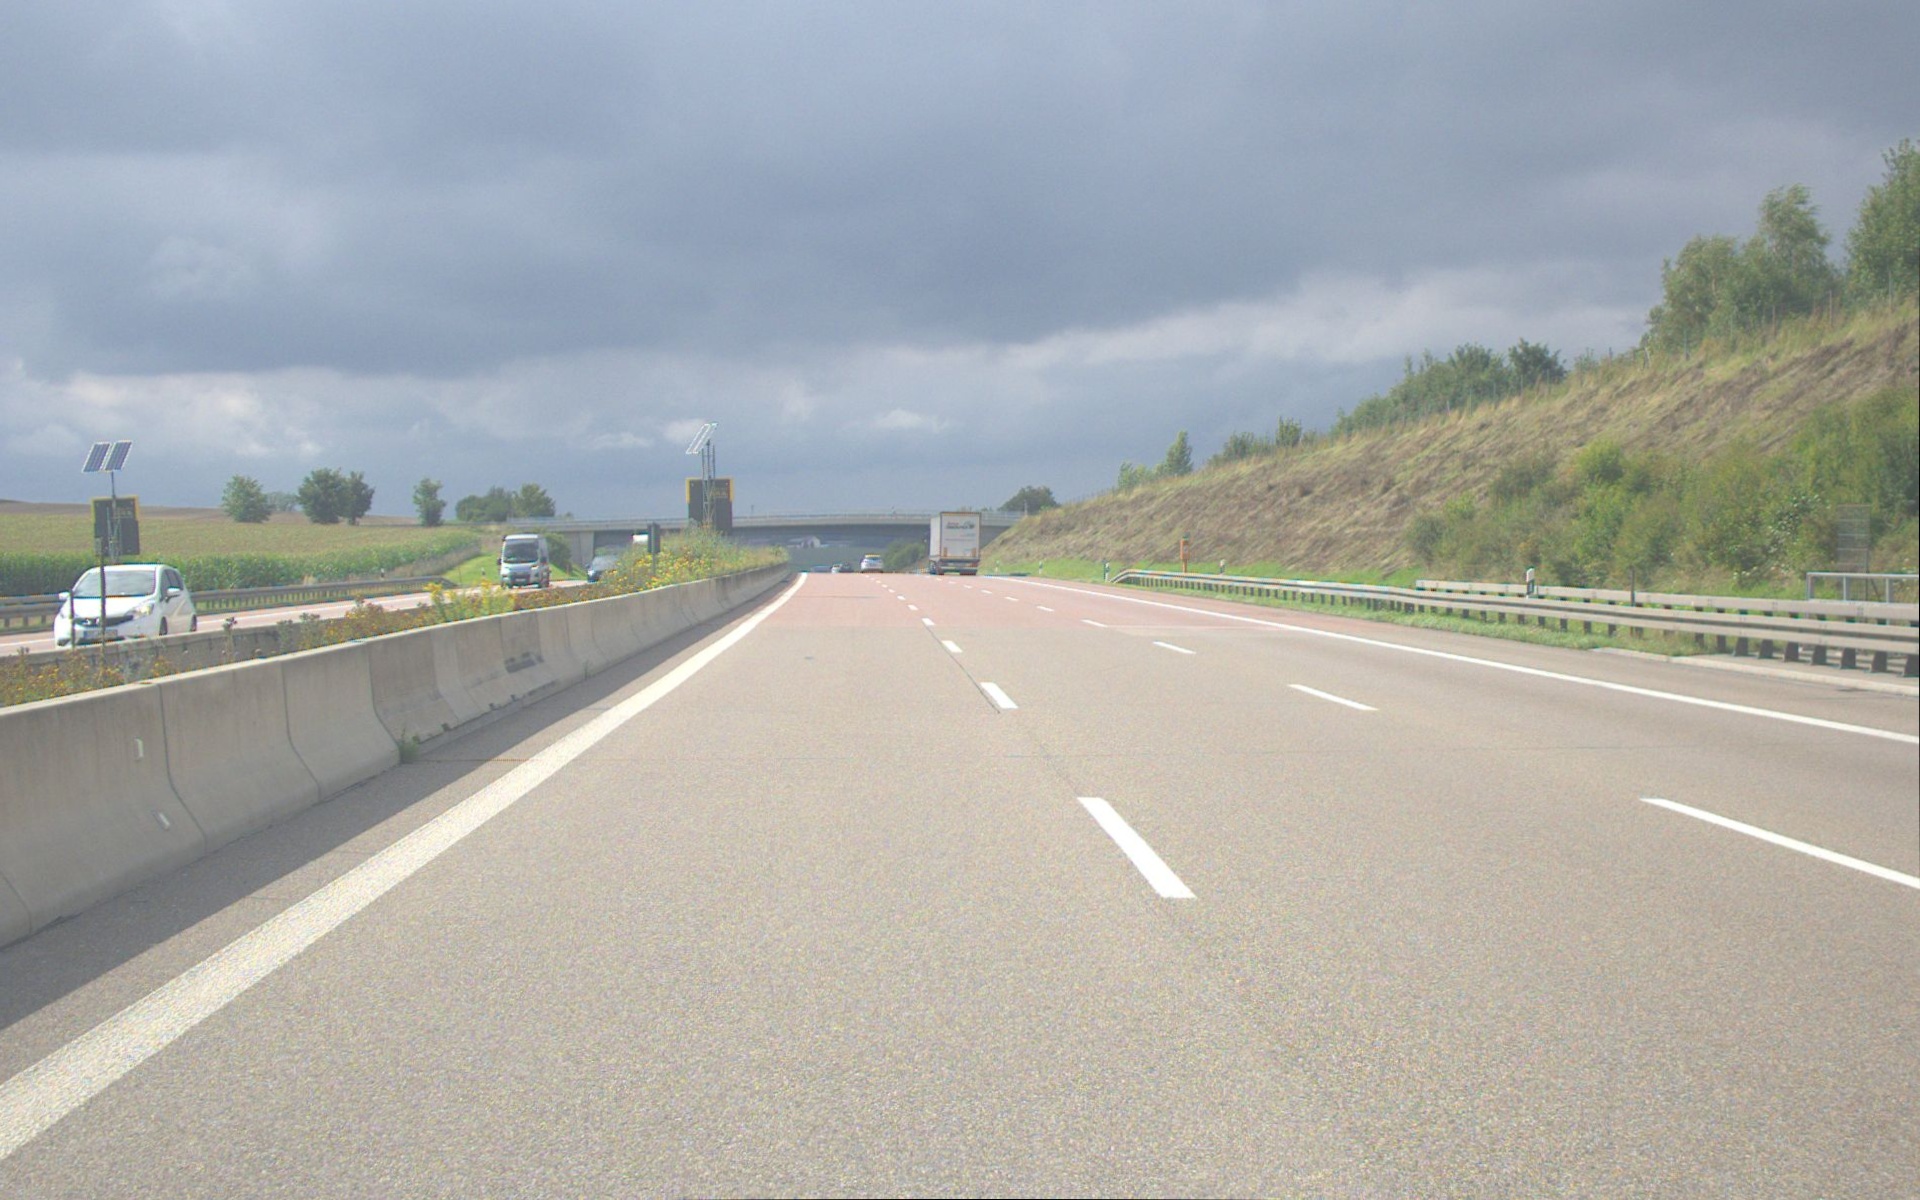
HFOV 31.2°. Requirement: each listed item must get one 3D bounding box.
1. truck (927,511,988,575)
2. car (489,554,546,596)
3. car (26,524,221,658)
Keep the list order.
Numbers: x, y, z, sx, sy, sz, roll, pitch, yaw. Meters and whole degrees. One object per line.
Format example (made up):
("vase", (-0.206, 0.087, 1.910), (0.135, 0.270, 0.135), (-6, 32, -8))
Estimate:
("truck", (-0.208, -3.694, 221.532), (3.617, 3.932, 11.175), (2, 1, -1))
("car", (-21.327, -1.237, 165.961), (2.057, 1.906, 5.704), (-1, 1, -1))
("car", (-13.637, -0.182, 56.312), (1.993, 2.063, 4.712), (-1, 1, 0))
